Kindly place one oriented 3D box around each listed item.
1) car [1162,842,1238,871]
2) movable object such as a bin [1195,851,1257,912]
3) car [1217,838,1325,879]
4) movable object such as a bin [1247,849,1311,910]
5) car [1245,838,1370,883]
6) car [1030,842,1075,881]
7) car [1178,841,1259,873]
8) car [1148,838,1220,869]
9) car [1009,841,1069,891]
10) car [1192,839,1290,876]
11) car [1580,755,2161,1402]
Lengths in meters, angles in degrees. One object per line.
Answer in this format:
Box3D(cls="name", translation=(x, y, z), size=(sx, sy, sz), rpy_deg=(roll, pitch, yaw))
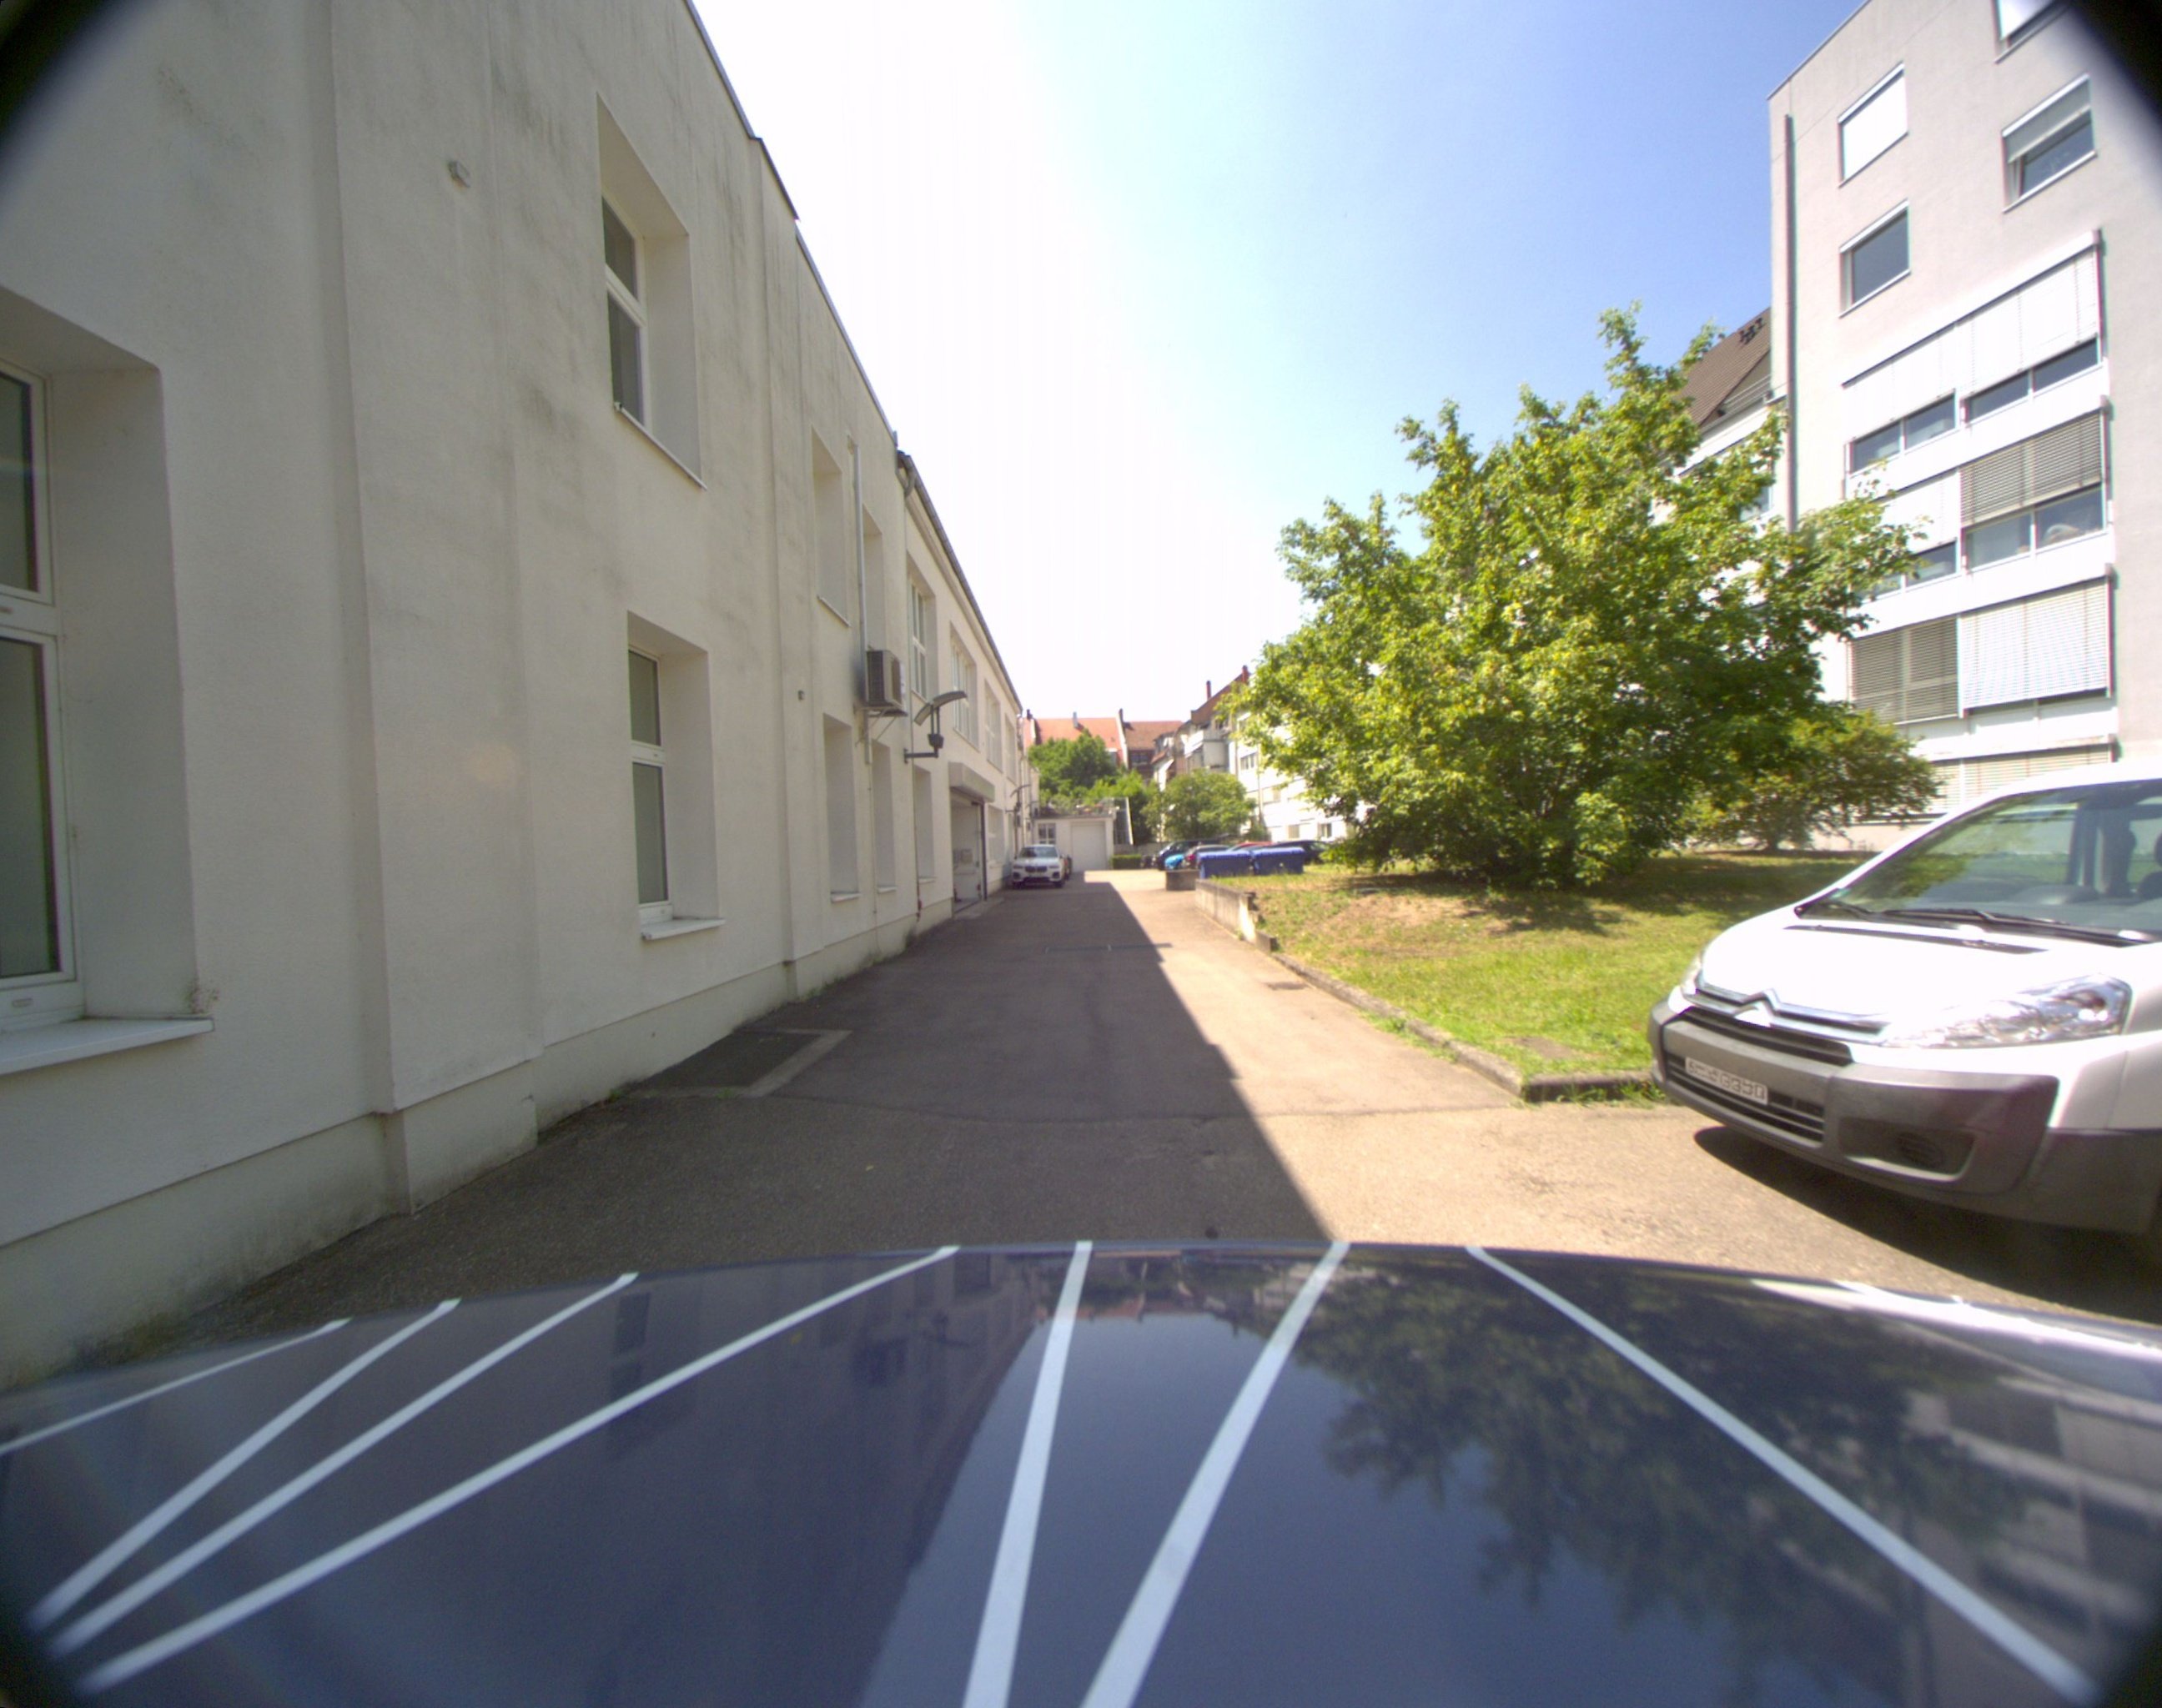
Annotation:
Box3D(cls="car", translation=(7.154, 0.117, 45.930), size=(4.223, 1.560, 1.612), rpy_deg=(-2, 2, -4))
Box3D(cls="movable object such as a bin", translation=(3.527, 0.647, 18.583), size=(1.271, 1.381, 1.095), rpy_deg=(-2, 2, 1))
Box3D(cls="car", translation=(8.206, 0.181, 32.935), size=(4.223, 1.560, 1.612), rpy_deg=(-2, 2, -4))
Box3D(cls="movable object such as a bin", translation=(4.825, 0.598, 18.588), size=(1.271, 1.381, 1.095), rpy_deg=(-2, 2, 1))
Box3D(cls="car", translation=(8.957, 0.218, 30.220), size=(4.445, 1.560, 1.612), rpy_deg=(-2, 2, -5))
Box3D(cls="car", translation=(-1.413, 0.352, 39.716), size=(2.011, 1.793, 4.726), rpy_deg=(-2, 1, 1))
Box3D(cls="car", translation=(7.724, 0.149, 42.865), size=(4.223, 1.560, 1.612), rpy_deg=(-2, 2, -4))
Box3D(cls="car", translation=(6.569, -0.059, 48.870), size=(4.223, 1.813, 2.008), rpy_deg=(-2, 2, -4))
Box3D(cls="car", translation=(-1.618, 0.419, 30.915), size=(2.011, 1.793, 4.726), rpy_deg=(-2, 1, 1))
Box3D(cls="car", translation=(7.595, 0.158, 36.248), size=(4.223, 1.560, 1.612), rpy_deg=(-2, 2, -4))
Box3D(cls="car", translation=(5.173, 0.556, 3.096), size=(4.858, 1.873, 2.067), rpy_deg=(-2, 2, 3))
